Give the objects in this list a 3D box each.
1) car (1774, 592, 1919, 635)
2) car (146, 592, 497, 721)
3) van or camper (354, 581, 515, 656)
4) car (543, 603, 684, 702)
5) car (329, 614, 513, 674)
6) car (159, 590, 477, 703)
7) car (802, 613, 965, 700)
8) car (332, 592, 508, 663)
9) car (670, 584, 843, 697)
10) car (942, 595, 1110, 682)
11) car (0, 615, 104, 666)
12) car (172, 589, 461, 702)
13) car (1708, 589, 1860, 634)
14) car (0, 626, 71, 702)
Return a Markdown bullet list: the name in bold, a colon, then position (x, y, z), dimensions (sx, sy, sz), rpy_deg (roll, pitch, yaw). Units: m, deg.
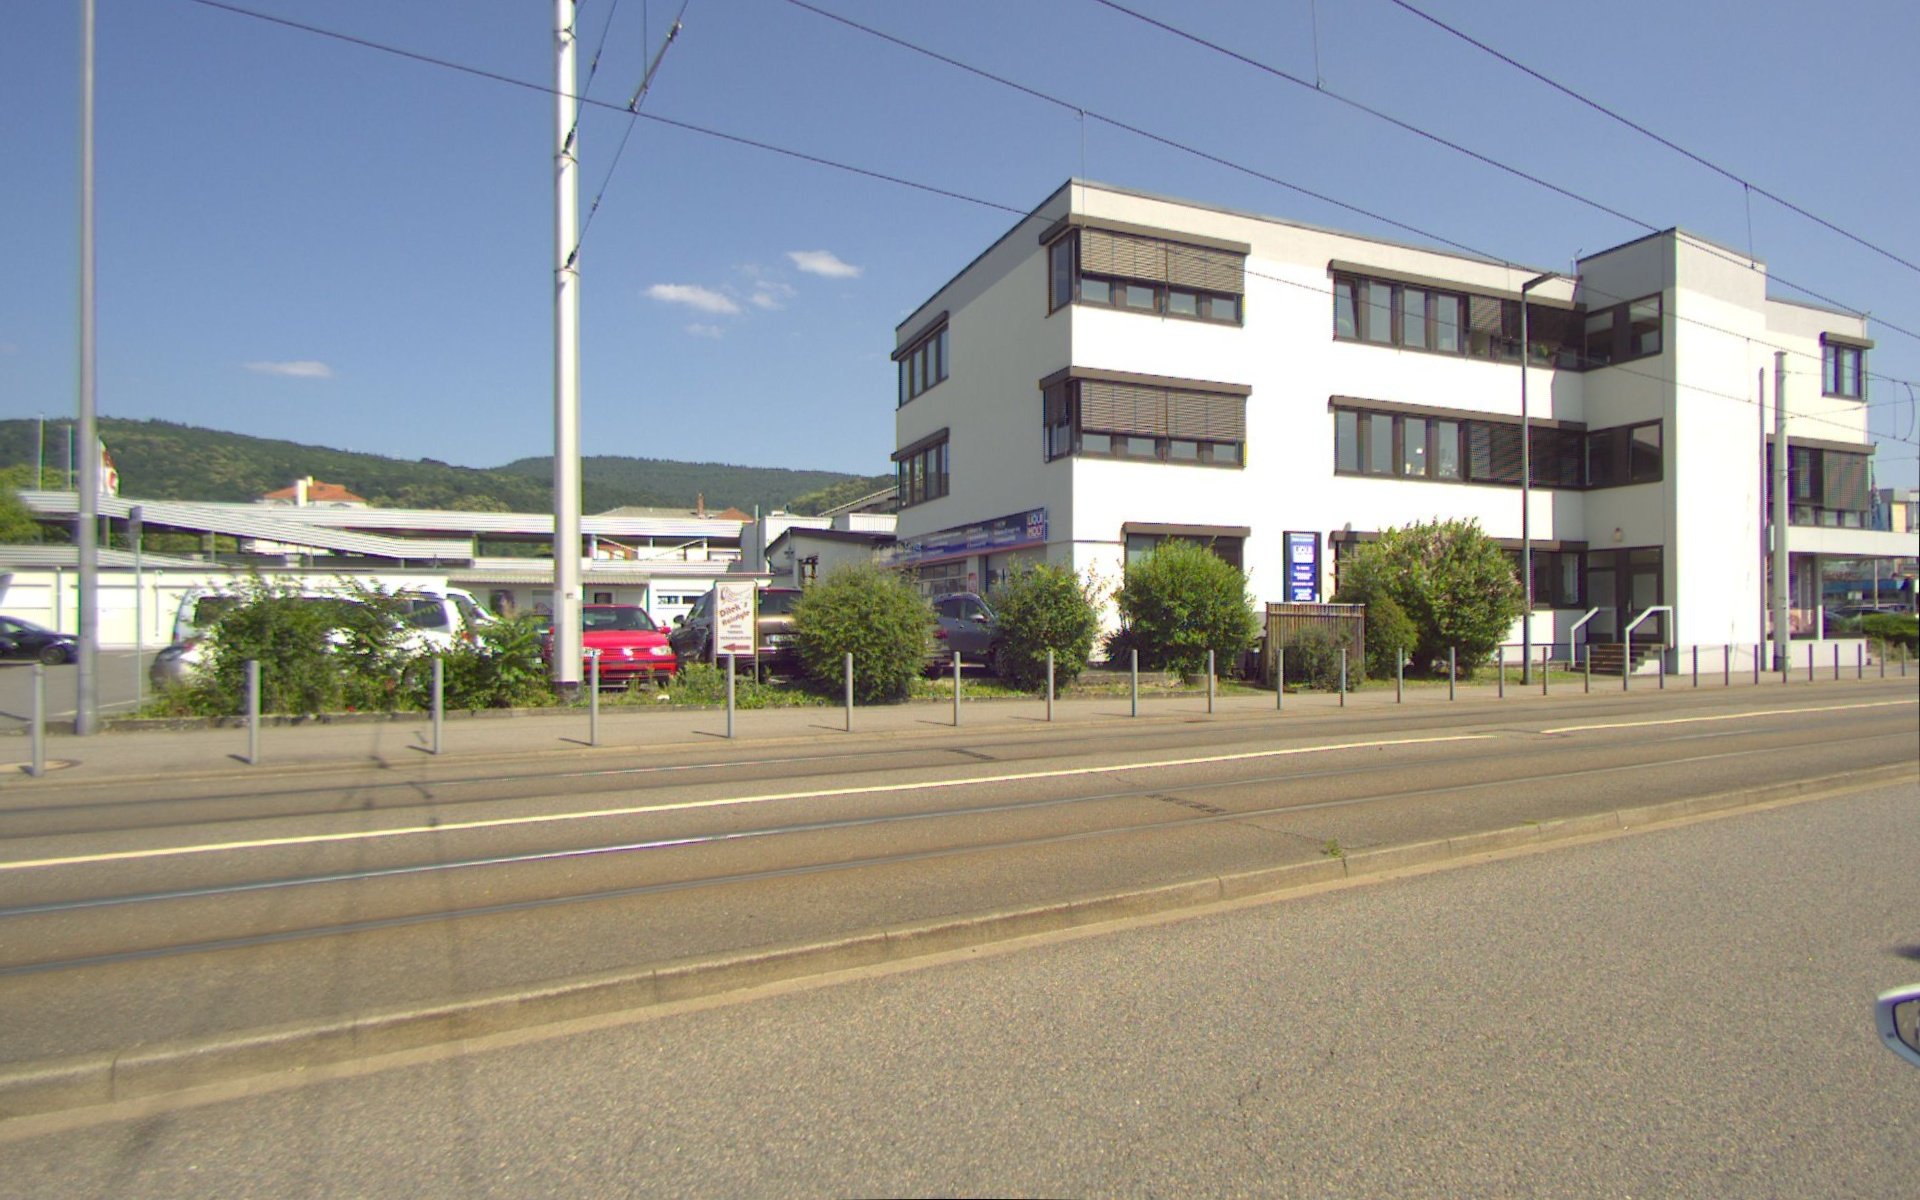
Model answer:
- **car**: position (34.556, 0.496, 39.121), dimensions (1.973, 1.539, 3.974), rpy_deg (-2, 0, -26)
- **car**: position (-8.449, 0.728, 13.723), dimensions (3.782, 1.562, 1.732), rpy_deg (1, -1, -23)
- **van or camper**: position (-17.128, 0.603, 32.975), dimensions (4.541, 2.336, 1.770), rpy_deg (1, 0, -26)
- **car**: position (-5.707, 0.778, 16.276), dimensions (1.725, 1.388, 3.811), rpy_deg (1, -1, -26)
- **car**: position (-15.046, 1.209, 28.343), dimensions (4.363, 1.578, 1.981), rpy_deg (1, -2, -24)
- **car**: position (-9.803, 0.688, 15.739), dimensions (3.878, 1.588, 1.847), rpy_deg (1, -1, -22)
- **car**: position (-1.484, 0.966, 18.421), dimensions (1.532, 1.441, 3.367), rpy_deg (1, -1, -34)
- **car**: position (-16.250, 0.827, 30.535), dimensions (4.516, 2.040, 2.046), rpy_deg (1, -1, -24)
- **car**: position (-3.655, 0.659, 17.502), dimensions (1.974, 1.728, 3.972), rpy_deg (1, -1, -27)
- **car**: position (1.210, 0.711, 19.843), dimensions (1.459, 1.549, 3.603), rpy_deg (1, -1, -33)
- **car**: position (-29.241, 1.223, 30.932), dimensions (3.944, 1.531, 1.989), rpy_deg (1, -1, -24)
- **car**: position (-11.139, 0.768, 17.763), dimensions (3.941, 1.808, 1.990), rpy_deg (1, -1, -22)
- **car**: position (30.645, 0.432, 37.475), dimensions (1.973, 1.584, 3.974), rpy_deg (1, -1, -26)
- **car**: position (-28.188, 1.850, 28.505), dimensions (3.944, 2.040, 1.988), rpy_deg (-2, 1, -24)
